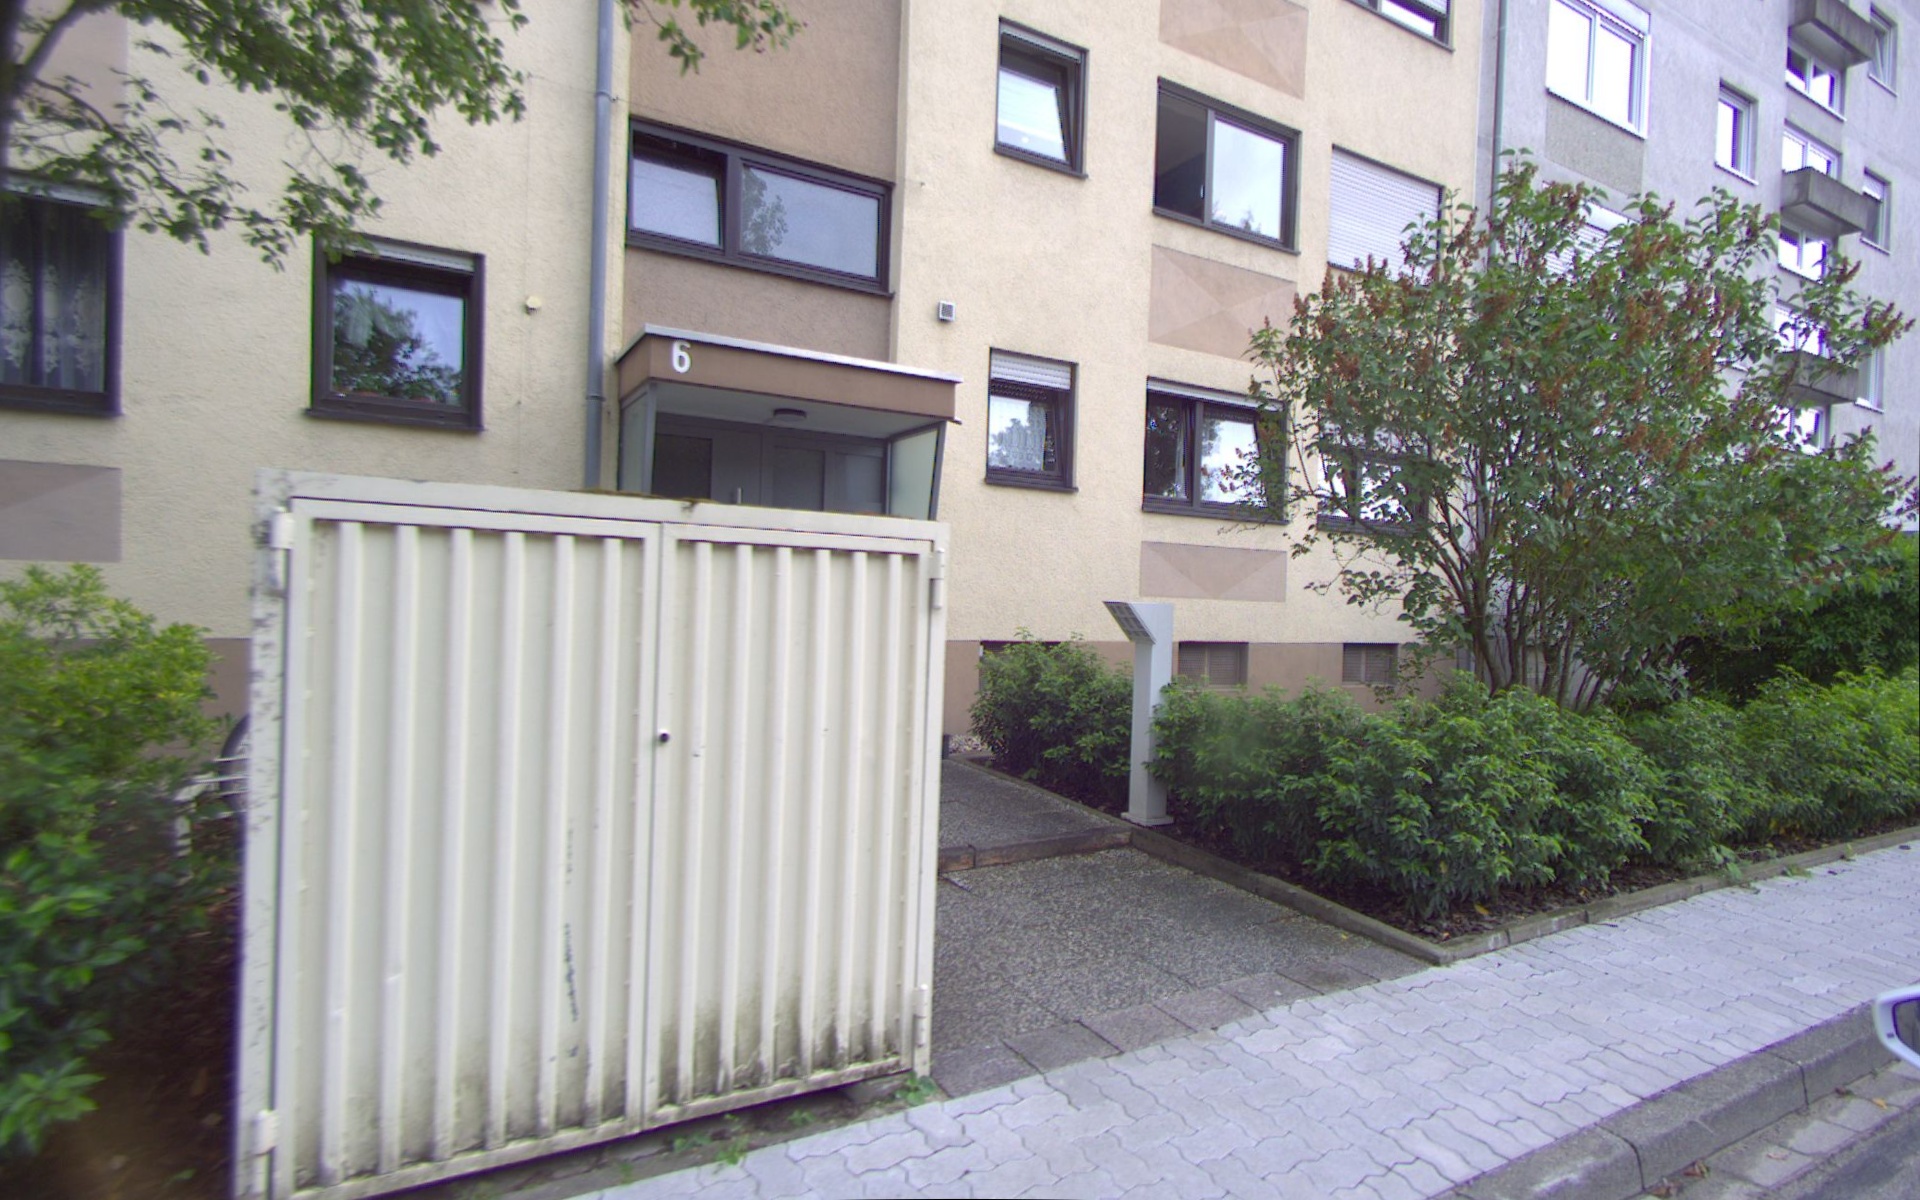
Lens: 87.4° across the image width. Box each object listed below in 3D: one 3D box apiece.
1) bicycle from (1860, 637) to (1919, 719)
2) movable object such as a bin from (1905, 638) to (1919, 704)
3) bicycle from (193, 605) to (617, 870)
[{"bbox_3d":[12.851,1.043,13.667,1.528,1.048,0.372,2,3,-29],"label":"bicycle"},{"bbox_3d":[15.389,1.133,15.771,0.569,1.033,0.537,2,1,-9],"label":"movable object such as a bin"},{"bbox_3d":[-2.493,0.565,4.673,1.672,1.066,0.313,0,1,-32],"label":"bicycle"}]
